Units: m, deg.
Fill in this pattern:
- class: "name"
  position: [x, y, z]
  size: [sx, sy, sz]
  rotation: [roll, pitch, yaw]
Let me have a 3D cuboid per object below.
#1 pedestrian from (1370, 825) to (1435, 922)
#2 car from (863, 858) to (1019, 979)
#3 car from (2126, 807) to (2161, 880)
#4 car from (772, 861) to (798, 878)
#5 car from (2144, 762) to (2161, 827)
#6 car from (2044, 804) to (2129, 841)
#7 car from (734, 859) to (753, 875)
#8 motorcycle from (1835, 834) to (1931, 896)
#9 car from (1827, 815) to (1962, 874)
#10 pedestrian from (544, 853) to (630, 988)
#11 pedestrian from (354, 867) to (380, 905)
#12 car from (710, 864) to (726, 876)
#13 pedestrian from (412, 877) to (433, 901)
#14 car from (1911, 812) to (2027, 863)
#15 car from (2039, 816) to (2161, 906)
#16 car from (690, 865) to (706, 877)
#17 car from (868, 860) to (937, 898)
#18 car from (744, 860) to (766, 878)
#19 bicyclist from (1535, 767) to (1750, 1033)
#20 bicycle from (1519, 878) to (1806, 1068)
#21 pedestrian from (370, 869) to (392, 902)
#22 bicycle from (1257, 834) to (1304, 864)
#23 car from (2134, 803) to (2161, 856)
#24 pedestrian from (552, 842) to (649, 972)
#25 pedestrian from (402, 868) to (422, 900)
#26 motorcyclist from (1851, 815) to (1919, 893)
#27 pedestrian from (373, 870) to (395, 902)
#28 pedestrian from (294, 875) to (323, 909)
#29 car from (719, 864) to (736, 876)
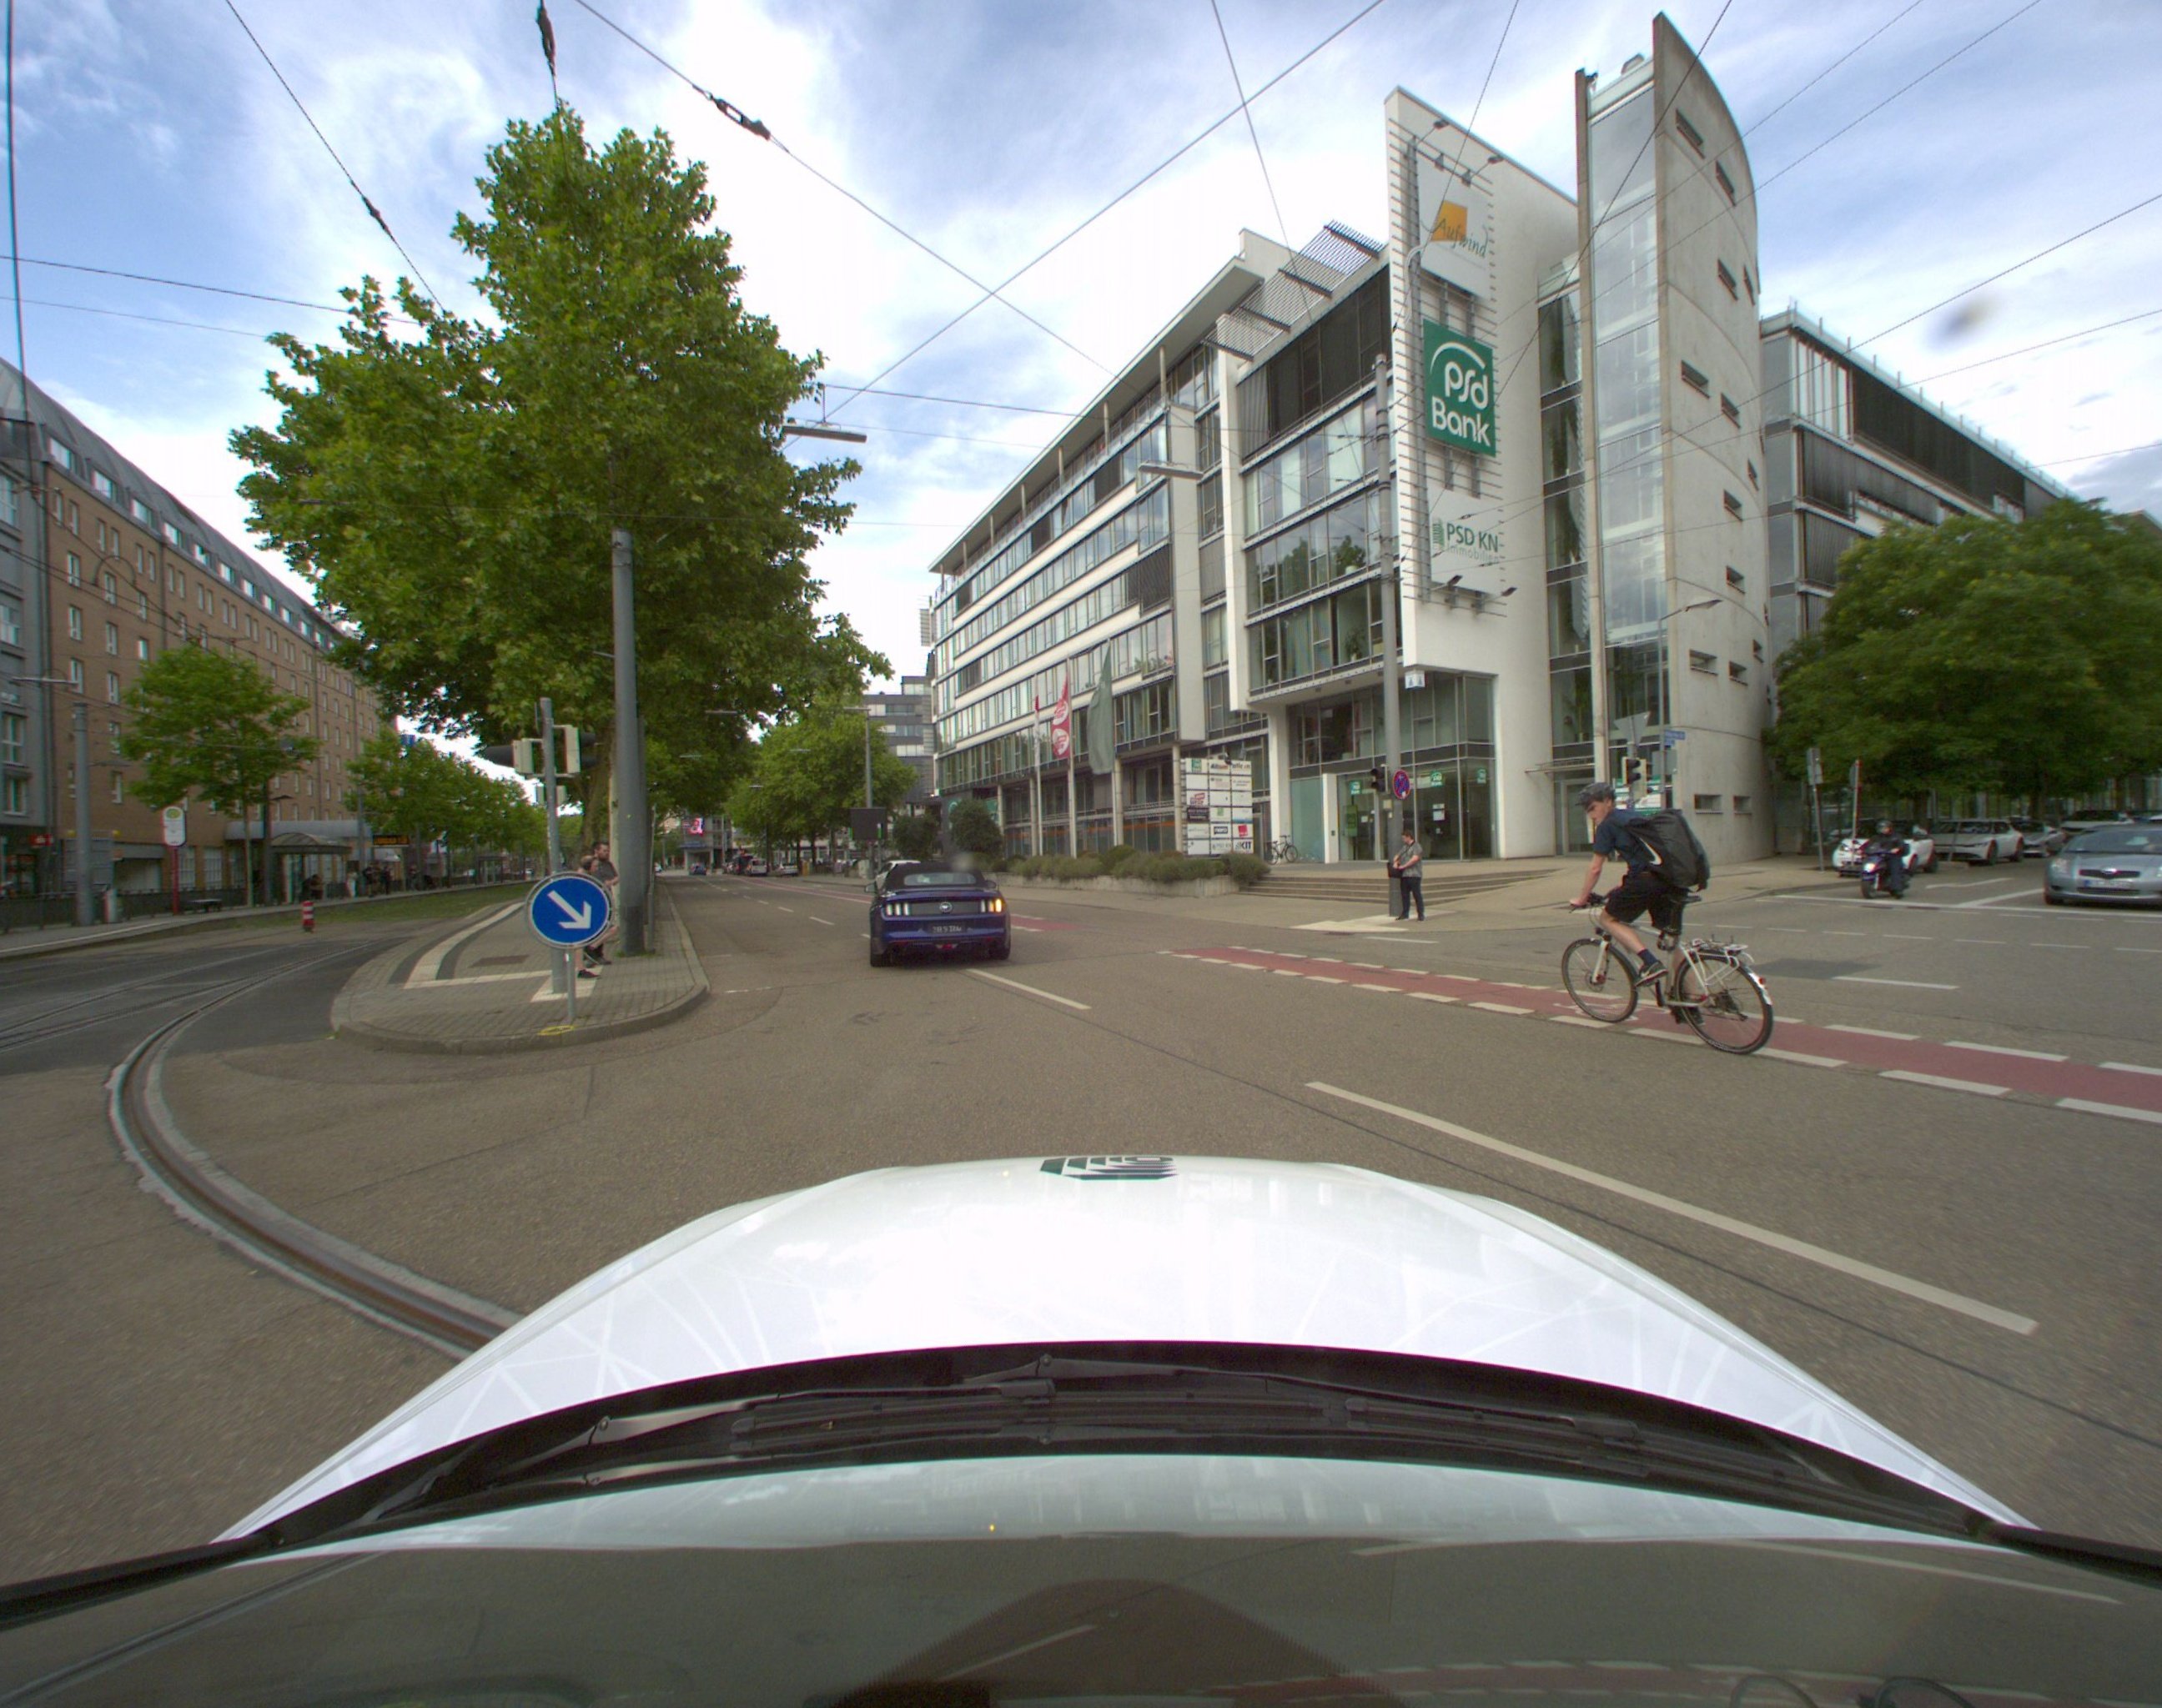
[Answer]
- class: "pedestrian"
  position: [6.414, 0.375, 16.281]
  size: [0.766, 1.865, 0.830]
  rotation: [-2, 0, -22]
- class: "car"
  position: [-2.209, 0.804, 12.309]
  size: [1.878, 1.404, 4.263]
  rotation: [-2, 0, -13]
- class: "car"
  position: [26.608, -0.305, 19.321]
  size: [4.146, 1.660, 1.704]
  rotation: [-2, 2, -30]
- class: "car"
  position: [-30.291, 1.578, 83.313]
  size: [1.891, 1.582, 4.285]
  rotation: [-2, 0, -28]
- class: "car"
  position: [62.491, -3.427, 46.427]
  size: [4.529, 3.636, 1.972]
  rotation: [-3, 2, -33]
- class: "car"
  position: [46.078, -1.464, 37.303]
  size: [4.529, 1.556, 1.972]
  rotation: [-3, 2, -33]
- class: "car"
  position: [-42.340, 1.655, 102.159]
  size: [1.845, 1.903, 4.138]
  rotation: [-2, 0, -27]
- class: "motorcycle"
  position: [17.232, 0.212, 17.488]
  size: [2.510, 1.199, 0.820]
  rotation: [-2, 1, -30]
- class: "car"
  position: [24.007, -0.319, 24.013]
  size: [4.230, 1.556, 1.818]
  rotation: [-2, 2, -30]
- class: "pedestrian"
  position: [-6.534, 0.840, 10.816]
  size: [0.766, 1.671, 0.931]
  rotation: [-2, 0, -21]
- class: "pedestrian"
  position: [-36.791, 1.653, 41.976]
  size: [0.820, 1.887, 0.777]
  rotation: [-2, -1, -32]
- class: "car"
  position: [-51.413, 2.241, 115.209]
  size: [1.845, 1.521, 4.138]
  rotation: [-2, 0, -27]
- class: "pedestrian"
  position: [-46.161, 2.424, 57.101]
  size: [1.001, 1.600, 0.843]
  rotation: [-2, 0, -31]
- class: "car"
  position: [30.197, -0.585, 27.674]
  size: [4.230, 1.556, 1.818]
  rotation: [-2, 2, -30]
- class: "car"
  position: [20.131, 0.053, 15.560]
  size: [4.248, 1.506, 1.657]
  rotation: [-2, 2, -30]
- class: "car"
  position: [-51.173, 2.304, 108.808]
  size: [1.845, 1.547, 4.177]
  rotation: [-2, 0, -27]
- class: "car"
  position: [-7.645, 1.055, 34.621]
  size: [1.845, 1.439, 4.150]
  rotation: [-2, 0, -27]
- class: "car"
  position: [-36.441, 1.652, 90.970]
  size: [1.901, 1.903, 4.093]
  rotation: [-2, 0, -27]
- class: "bicyclist"
  position: [4.175, 0.318, 6.181]
  size: [0.792, 1.785, 1.235]
  rotation: [-3, 0, 6]
- class: "bicycle"
  position: [4.188, 0.778, 6.141]
  size: [0.796, 1.086, 2.135]
  rotation: [-3, 0, 7]
- class: "pedestrian"
  position: [-40.718, 1.842, 47.386]
  size: [0.820, 1.887, 0.777]
  rotation: [-2, -1, -32]
- class: "bicycle"
  position: [8.277, -0.226, 33.796]
  size: [2.122, 1.177, 0.580]
  rotation: [-2, 1, -32]
- class: "car"
  position: [35.441, -0.831, 26.019]
  size: [4.146, 1.660, 1.704]
  rotation: [-2, 2, -30]
- class: "pedestrian"
  position: [-7.176, 0.768, 12.176]
  size: [0.835, 1.855, 0.845]
  rotation: [-3, 0, 21]
- class: "pedestrian"
  position: [-43.239, 1.909, 52.621]
  size: [0.820, 1.993, 0.777]
  rotation: [-2, -1, -31]
- class: "motorcyclist"
  position: [17.275, -0.005, 17.509]
  size: [0.885, 1.616, 0.814]
  rotation: [-2, 1, -30]
- class: "pedestrian"
  position: [-42.321, 1.929, 49.440]
  size: [0.820, 1.887, 0.777]
  rotation: [-2, -1, -32]
- class: "pedestrian"
  position: [-36.205, 1.787, 38.182]
  size: [0.820, 1.536, 0.777]
  rotation: [-2, 0, -32]
- class: "car"
  position: [-47.814, 2.140, 110.046]
  size: [1.845, 1.521, 4.138]
  rotation: [-2, 0, -27]
